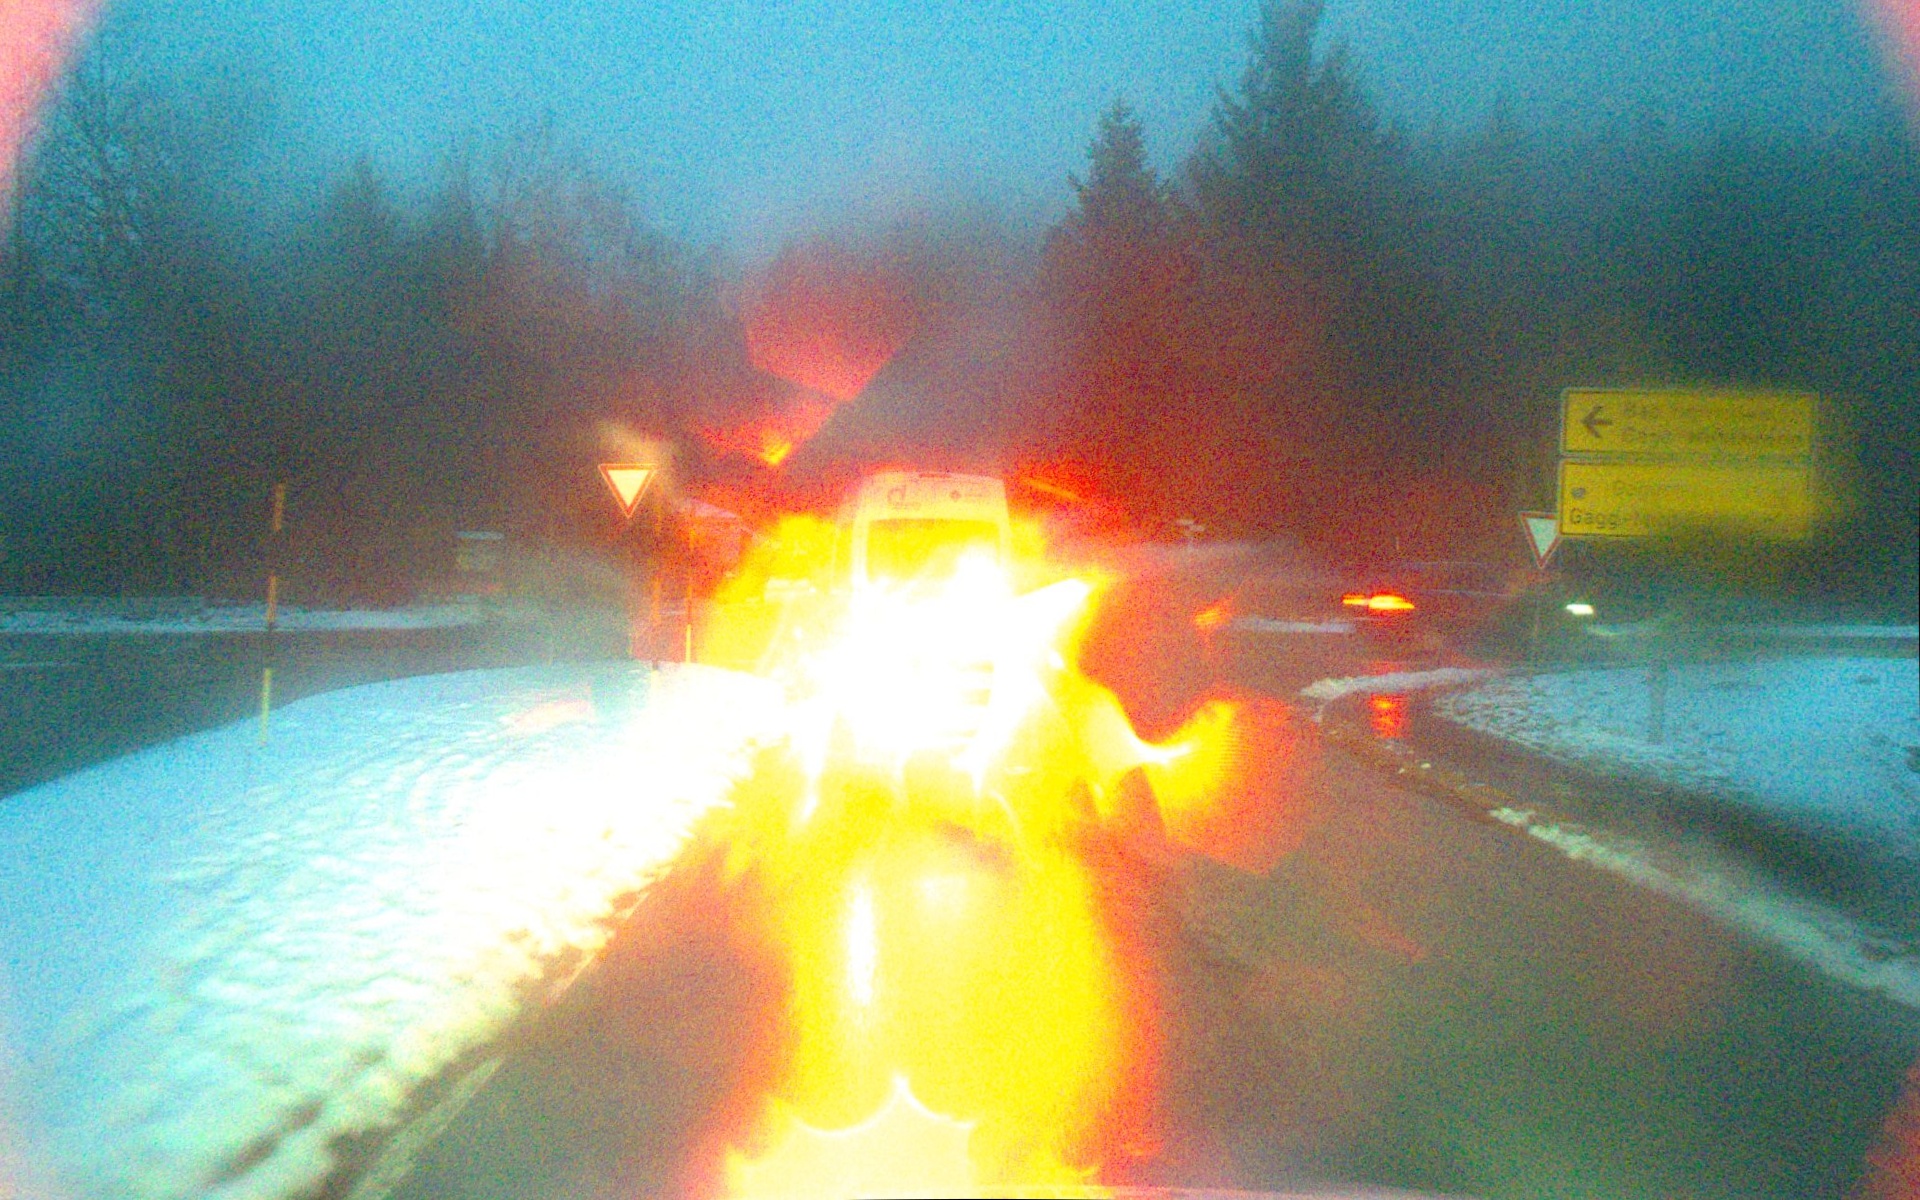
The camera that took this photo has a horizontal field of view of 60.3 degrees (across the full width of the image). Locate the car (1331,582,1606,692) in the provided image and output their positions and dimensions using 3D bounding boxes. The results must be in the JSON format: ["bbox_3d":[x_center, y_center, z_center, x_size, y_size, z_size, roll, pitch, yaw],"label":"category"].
[{"bbox_3d":[9.855,0.718,32.114,4.917,1.979,1.679,2,-1,-13],"label":"car"}]

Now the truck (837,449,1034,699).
[{"bbox_3d":[-0.470,-0.290,21.559,2.036,2.794,5.312,2,0,-6],"label":"truck"}]

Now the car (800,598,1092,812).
[{"bbox_3d":[-0.142,0.690,12.841,1.883,1.299,3.999,1,1,-2],"label":"car"}]
